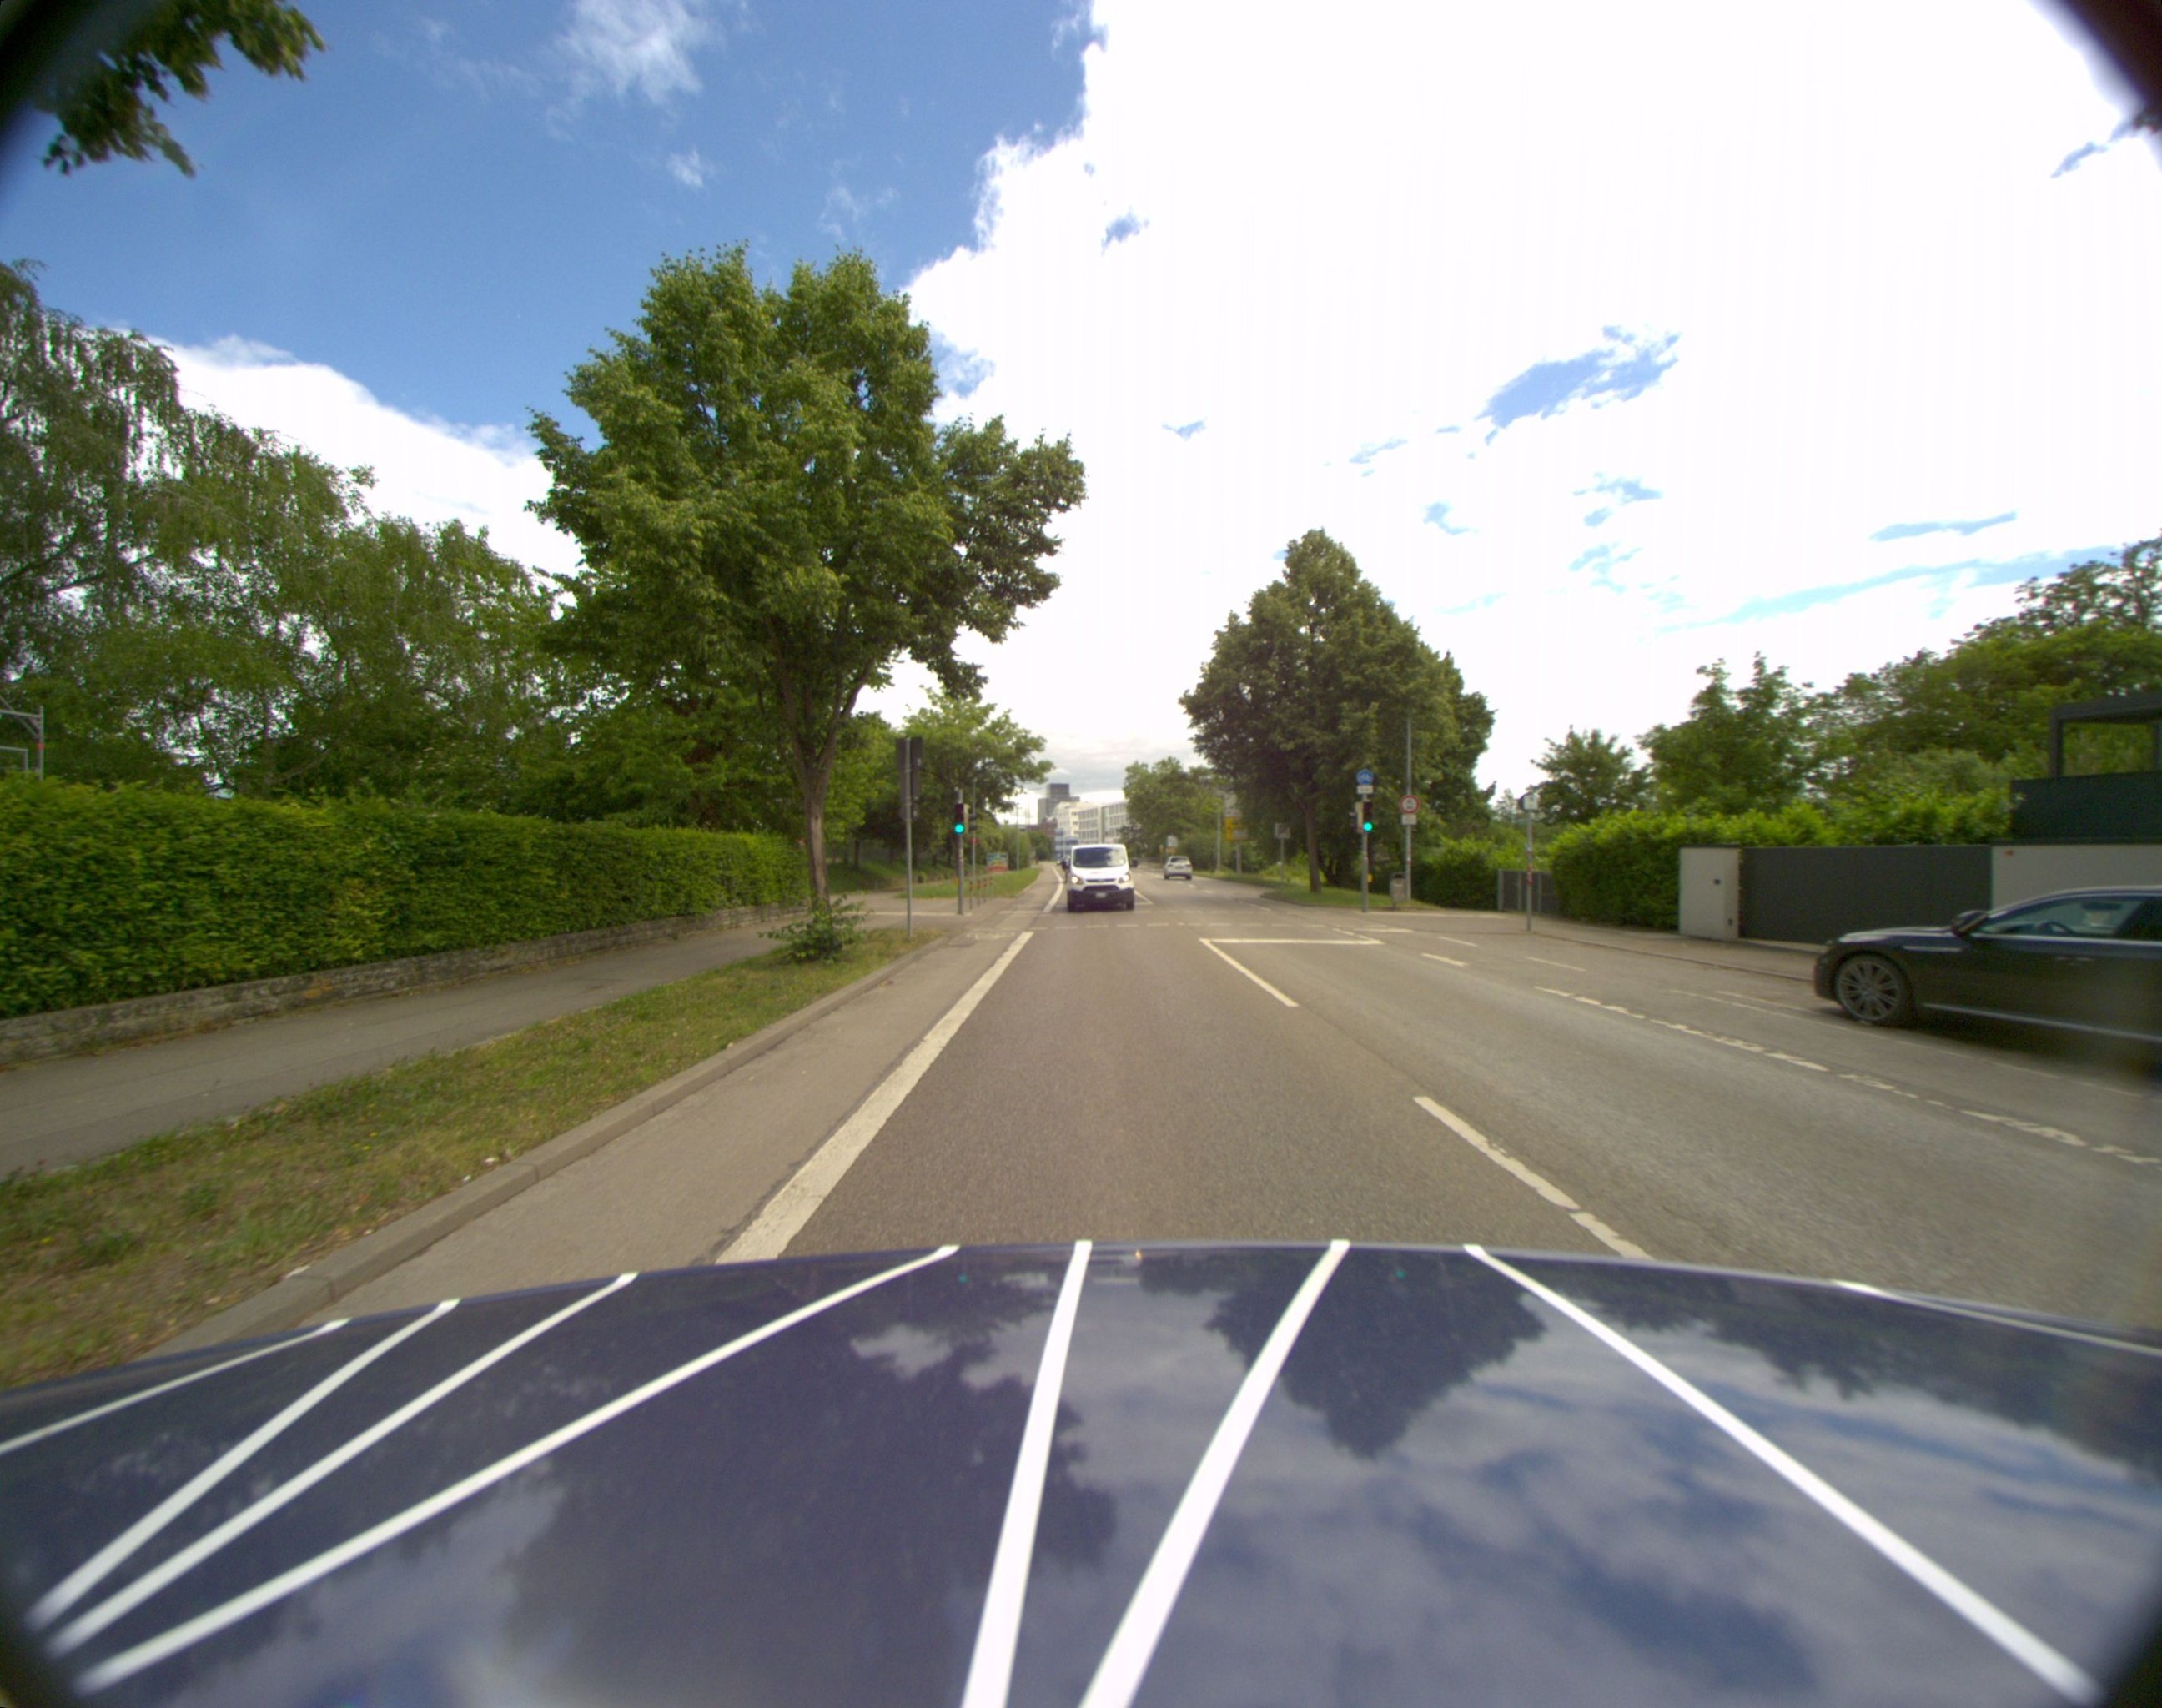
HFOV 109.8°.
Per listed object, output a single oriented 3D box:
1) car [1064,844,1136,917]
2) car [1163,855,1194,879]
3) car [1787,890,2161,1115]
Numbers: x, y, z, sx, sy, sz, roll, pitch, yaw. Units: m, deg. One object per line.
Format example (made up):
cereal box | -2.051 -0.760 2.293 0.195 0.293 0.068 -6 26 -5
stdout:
car | 0.576 0.744 23.943 1.998 2.002 5.188 -1 0 1
car | 6.926 0.917 54.501 1.786 1.622 4.000 0 0 1
car | 8.223 1.089 5.426 1.750 1.400 4.927 1 0 0
